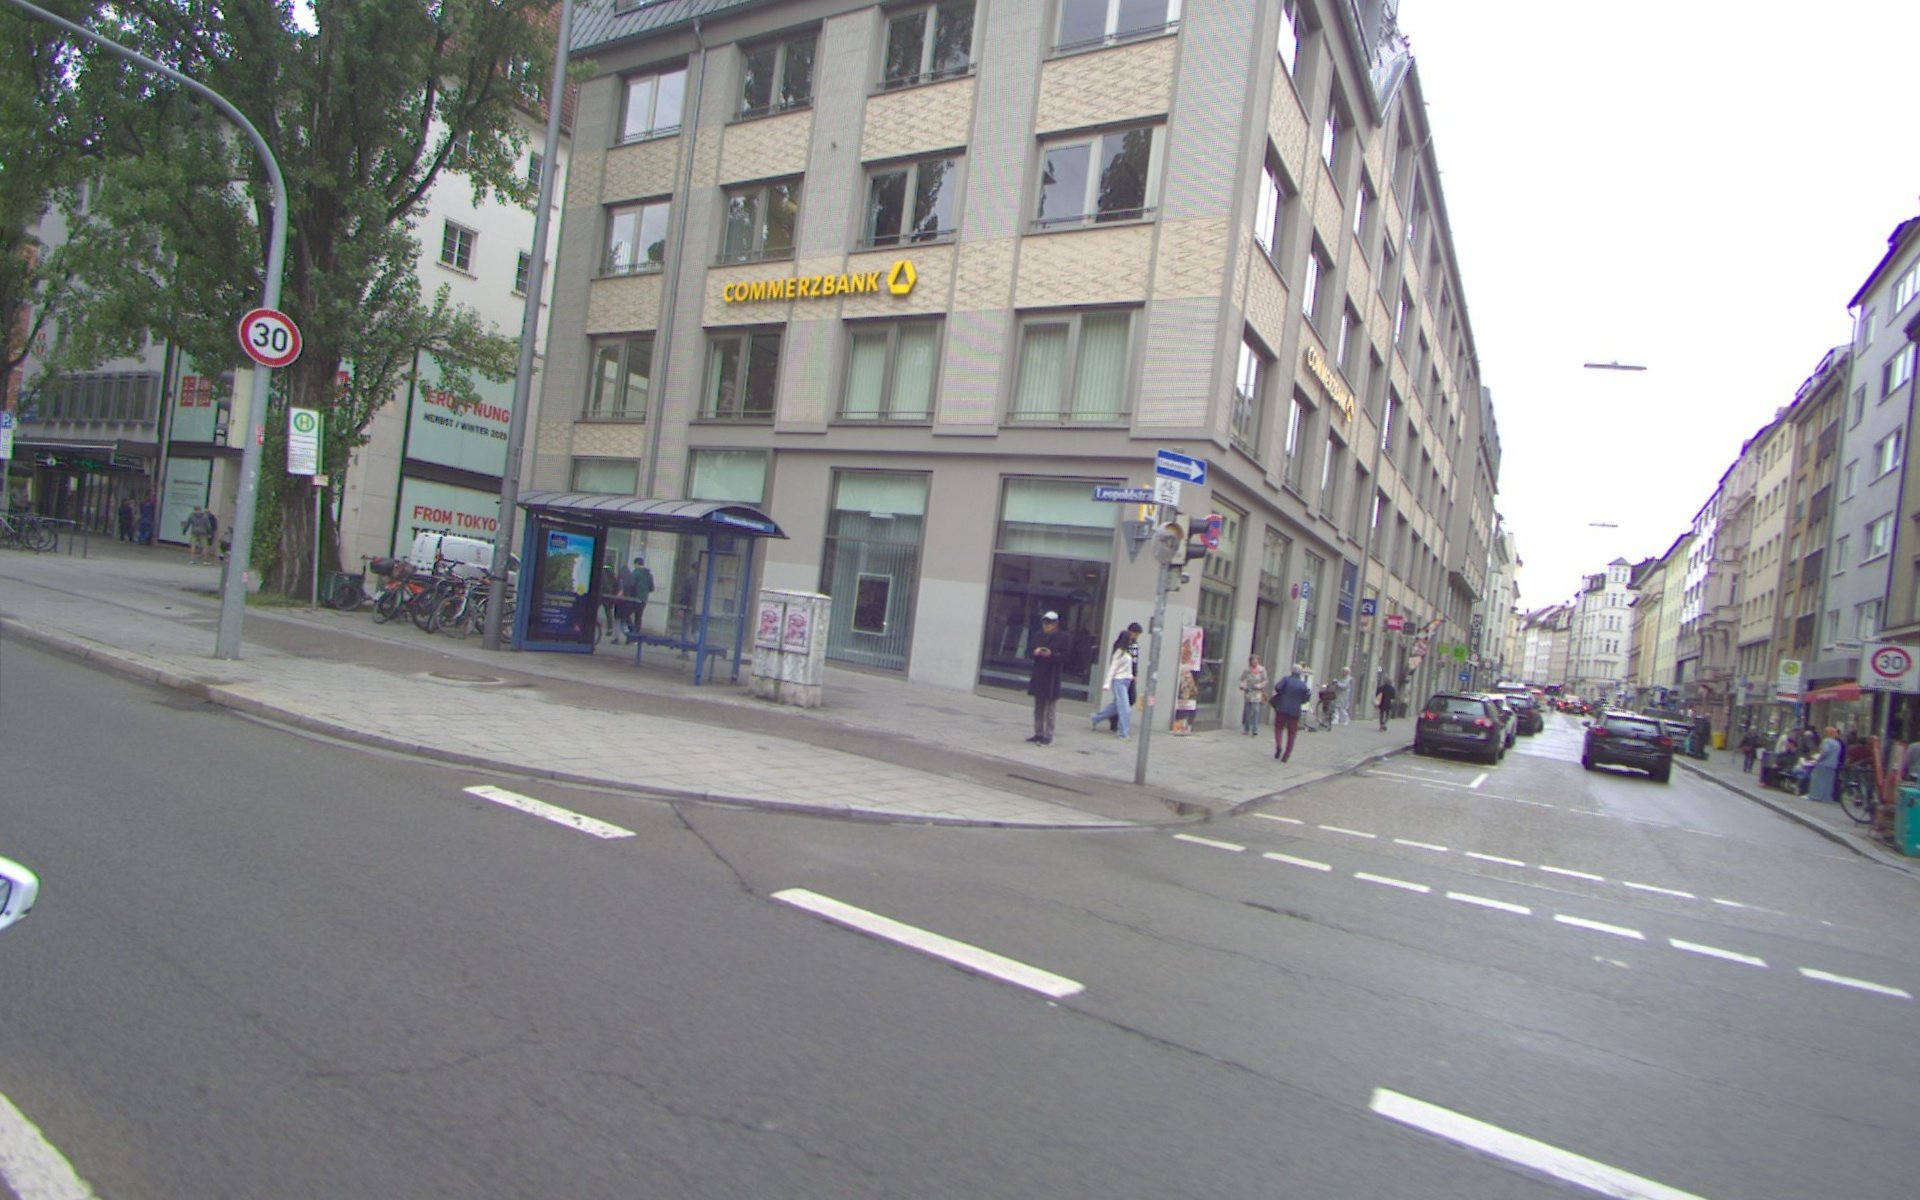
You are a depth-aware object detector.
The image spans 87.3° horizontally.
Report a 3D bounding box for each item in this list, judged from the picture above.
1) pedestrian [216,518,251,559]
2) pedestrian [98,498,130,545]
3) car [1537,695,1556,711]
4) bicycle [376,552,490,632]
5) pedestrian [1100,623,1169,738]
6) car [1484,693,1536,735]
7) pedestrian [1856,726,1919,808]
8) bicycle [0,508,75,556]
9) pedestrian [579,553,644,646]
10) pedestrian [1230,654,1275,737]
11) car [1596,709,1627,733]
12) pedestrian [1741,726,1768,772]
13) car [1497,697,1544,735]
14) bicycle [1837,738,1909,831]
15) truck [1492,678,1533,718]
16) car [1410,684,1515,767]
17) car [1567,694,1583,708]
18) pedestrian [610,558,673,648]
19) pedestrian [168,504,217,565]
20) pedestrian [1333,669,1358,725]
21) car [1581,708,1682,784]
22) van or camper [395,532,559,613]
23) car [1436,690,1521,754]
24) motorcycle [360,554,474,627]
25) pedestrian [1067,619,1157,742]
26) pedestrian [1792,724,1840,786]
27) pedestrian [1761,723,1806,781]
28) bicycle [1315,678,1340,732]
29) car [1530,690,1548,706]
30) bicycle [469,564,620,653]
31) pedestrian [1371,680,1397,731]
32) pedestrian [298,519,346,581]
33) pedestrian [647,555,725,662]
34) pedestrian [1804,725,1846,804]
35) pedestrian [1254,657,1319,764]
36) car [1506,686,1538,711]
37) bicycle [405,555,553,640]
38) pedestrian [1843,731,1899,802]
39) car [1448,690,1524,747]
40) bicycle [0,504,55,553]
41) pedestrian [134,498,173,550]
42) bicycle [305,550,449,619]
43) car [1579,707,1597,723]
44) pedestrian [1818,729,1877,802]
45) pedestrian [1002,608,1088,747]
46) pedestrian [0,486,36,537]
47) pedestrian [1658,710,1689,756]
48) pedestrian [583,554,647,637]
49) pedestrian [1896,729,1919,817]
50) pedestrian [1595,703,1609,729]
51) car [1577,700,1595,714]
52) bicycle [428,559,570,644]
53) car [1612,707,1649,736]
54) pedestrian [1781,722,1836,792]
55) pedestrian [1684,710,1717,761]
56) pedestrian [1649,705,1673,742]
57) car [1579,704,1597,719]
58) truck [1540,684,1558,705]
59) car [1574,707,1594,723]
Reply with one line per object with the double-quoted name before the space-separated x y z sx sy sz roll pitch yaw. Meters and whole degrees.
"pedestrian" -24.569 -2.074 34.011 0.673 1.249 0.670 9 1 33
"pedestrian" -31.861 -2.955 37.882 0.760 1.629 0.670 7 0 38
"car" 63.954 11.214 109.785 1.556 1.529 3.201 7 -1 30
"bicycle" -9.520 -0.125 18.235 0.442 1.254 1.727 7 0 32
"pedestrian" 2.890 1.334 16.627 0.699 1.779 0.751 7 0 32
"car" 23.856 4.905 43.591 1.730 1.478 3.994 7 -1 31
"pedestrian" 22.196 3.981 24.083 0.805 1.788 0.867 7 -1 32
"bicycle" -24.396 -1.787 26.331 0.475 1.057 1.763 7 1 20
"pedestrian" -7.107 -0.010 20.509 0.845 1.779 0.751 5 -1 32
"pedestrian" 5.867 1.910 20.165 0.574 1.550 0.444 9 1 28
"car" 49.873 9.240 77.014 1.556 1.529 3.202 7 -1 29
"pedestrian" 26.813 5.027 33.956 0.576 1.449 0.443 6 -1 40
"car" 26.686 5.466 47.816 1.730 1.478 3.994 7 -1 31
"bicycle" 15.855 3.169 17.506 0.473 1.403 1.830 7 -1 32
"truck" 31.805 5.618 57.869 1.730 2.005 3.994 7 -1 31
"car" 12.112 2.945 24.131 1.730 1.567 3.992 7 -1 32
"car" 80.789 13.265 132.133 1.556 1.529 3.201 7 -1 30
"pedestrian" -6.700 0.074 21.162 0.845 1.779 0.751 5 -1 32
"pedestrian" -23.152 -1.952 30.358 0.815 1.694 0.981 7 0 -24
"pedestrian" 11.093 2.783 28.943 0.437 1.538 0.584 7 0 28
"car" 17.062 3.649 25.728 1.730 1.479 3.994 7 -1 30
"van or camper" -15.102 -0.828 31.678 1.868 1.888 4.110 6 -3 35
"car" 14.956 3.451 28.936 1.730 1.479 3.692 7 -1 32
"motorcycle" -9.975 -0.148 18.540 0.501 1.153 1.727 7 0 32
"pedestrian" 2.420 1.263 15.984 1.000 1.779 0.751 8 1 32
"pedestrian" 24.829 4.484 29.197 0.805 1.627 0.867 7 -1 32
"pedestrian" 25.272 4.657 30.891 0.805 1.627 0.867 7 -1 32
"bicycle" 9.178 2.595 25.104 0.440 1.226 1.744 7 -1 21
"car" 66.464 11.232 115.517 1.556 1.529 3.201 7 -1 30
"bicycle" -7.107 0.166 17.289 2.226 1.267 0.472 8 0 -35
"pedestrian" 12.354 3.067 29.289 0.574 1.422 0.444 4 -1 28
"pedestrian" -19.760 -1.547 31.170 0.947 1.738 0.751 7 0 31
"pedestrian" -5.077 0.172 18.656 0.875 1.840 0.819 7 0 30
"pedestrian" 19.419 3.685 22.591 0.576 1.663 0.443 6 -1 40
"pedestrian" 5.382 1.802 16.596 0.722 1.657 0.750 5 0 33
"car" 41.306 7.231 73.904 1.730 1.479 3.692 7 -1 32
"bicycle" -8.613 -0.011 18.136 0.622 1.267 2.347 7 -1 31
"pedestrian" 24.267 4.421 26.814 0.805 1.715 0.867 7 -1 32
"car" 16.934 3.764 32.297 1.730 1.479 3.692 7 -1 32
"bicycle" -25.099 -1.927 26.509 0.440 1.124 1.744 7 -1 21
"pedestrian" -30.538 -2.863 38.108 0.863 1.851 0.829 7 0 -31
"bicycle" -11.145 -0.272 19.316 0.860 1.029 2.152 7 -1 31
"car" 73.683 13.457 118.076 1.556 1.529 3.201 7 -1 30
"pedestrian" 21.724 4.021 24.637 0.805 1.627 0.867 7 -1 32
"pedestrian" 1.175 1.066 13.846 0.740 1.779 0.709 7 0 32
"pedestrian" -38.032 -3.562 40.498 1.081 1.863 0.827 7 0 31
"pedestrian" 30.257 5.625 42.668 0.820 1.824 0.867 7 -1 32
"pedestrian" -7.780 -0.097 22.690 0.947 1.738 0.751 7 0 32
"pedestrian" 20.214 3.652 21.088 0.667 1.788 0.999 6 -2 40
"pedestrian" 41.238 7.470 64.578 0.573 1.571 0.669 7 0 31
"car" 78.391 13.427 125.982 1.556 1.529 3.201 7 -1 30
"bicycle" -8.090 0.065 17.794 0.469 1.267 2.319 7 -1 31
"car" 43.273 7.815 64.946 1.556 1.529 3.202 7 -1 29
"pedestrian" 21.761 4.009 25.820 0.805 1.627 0.867 7 -1 32
"pedestrian" 28.786 5.271 39.114 0.820 1.824 0.867 7 -1 32
"pedestrian" 37.098 6.518 53.245 0.820 1.825 0.866 7 0 32
"car" 75.760 13.404 121.417 1.556 1.529 3.201 7 -1 30
"truck" 93.995 15.075 160.564 1.961 3.037 5.480 7 -1 30
"car" 68.442 12.604 110.422 1.556 1.529 3.201 7 -1 30
